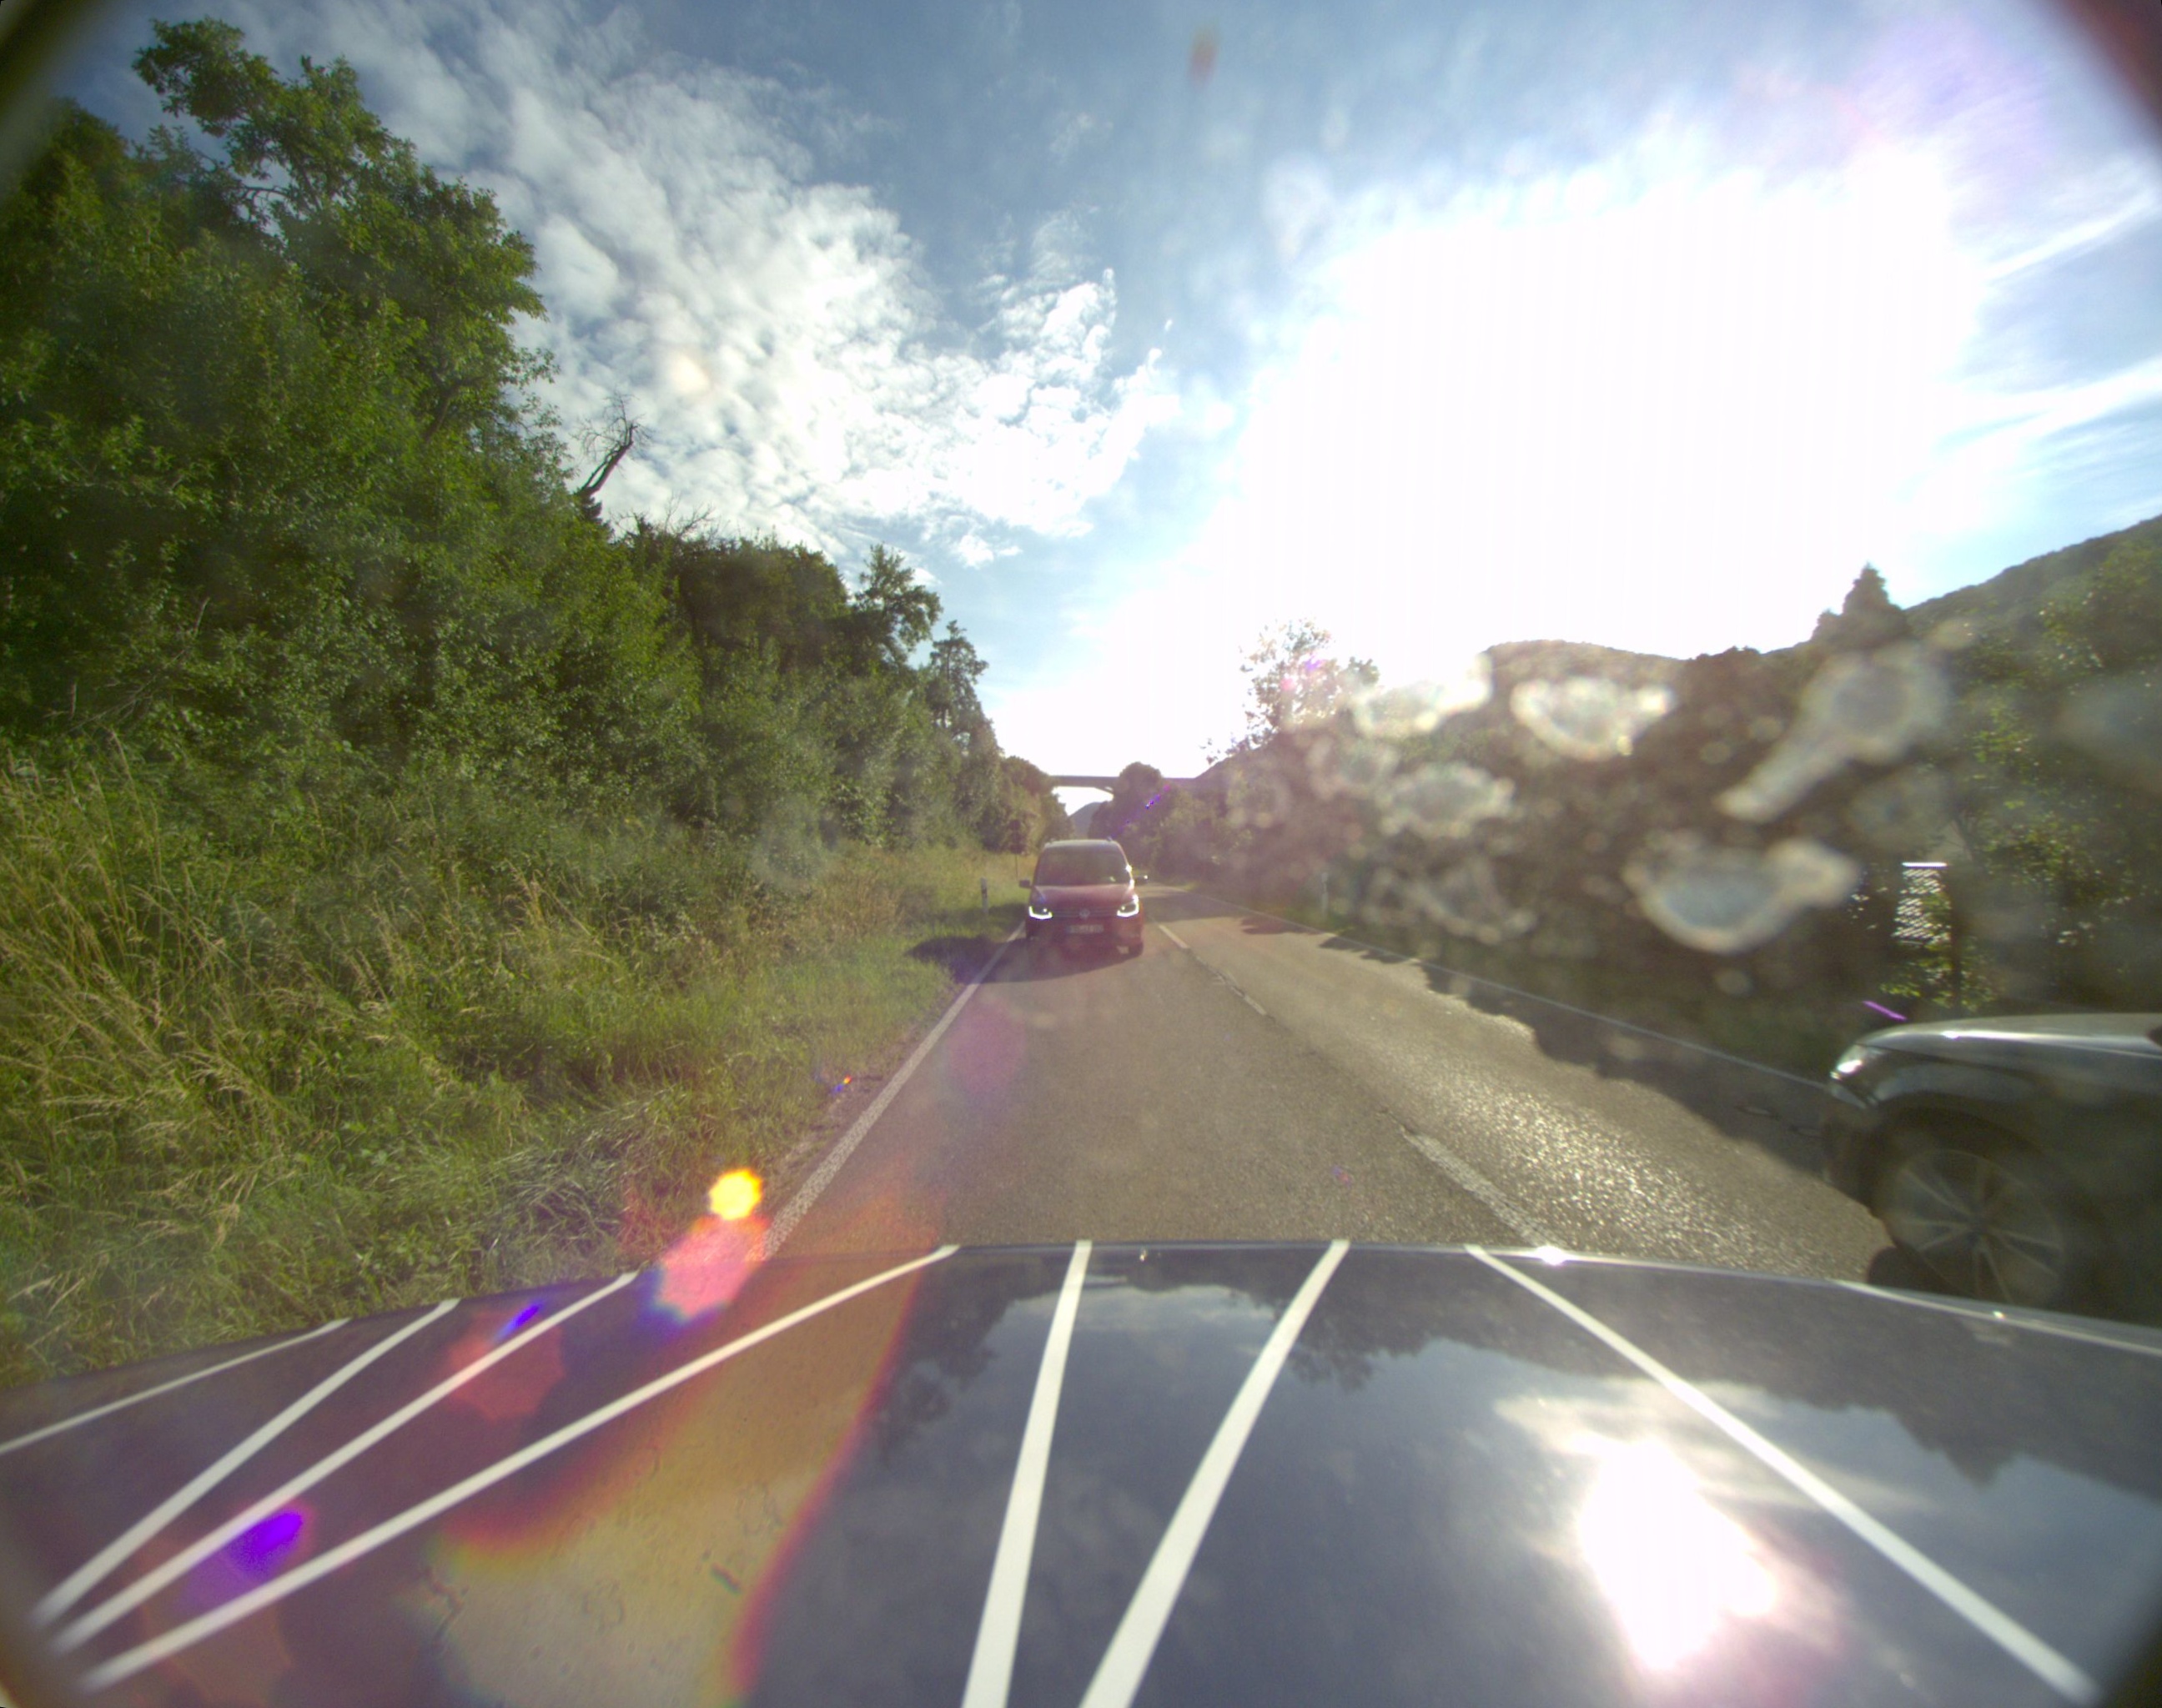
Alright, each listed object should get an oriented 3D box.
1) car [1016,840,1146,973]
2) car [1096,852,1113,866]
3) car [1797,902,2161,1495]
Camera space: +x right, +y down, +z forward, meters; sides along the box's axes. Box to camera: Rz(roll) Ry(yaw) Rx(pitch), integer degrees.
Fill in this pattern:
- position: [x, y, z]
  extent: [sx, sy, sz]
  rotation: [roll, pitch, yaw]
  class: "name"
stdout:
- position: [0.013, 0.715, 12.794]
  extent: [1.753, 1.800, 4.287]
  rotation: [-2, 1, 0]
  class: "car"
- position: [2.648, 0.537, 85.032]
  extent: [1.632, 1.407, 3.788]
  rotation: [0, 1, -2]
  class: "car"
- position: [3.520, 0.907, 0.946]
  extent: [1.631, 1.407, 3.788]
  rotation: [0, 1, -1]
  class: "car"
